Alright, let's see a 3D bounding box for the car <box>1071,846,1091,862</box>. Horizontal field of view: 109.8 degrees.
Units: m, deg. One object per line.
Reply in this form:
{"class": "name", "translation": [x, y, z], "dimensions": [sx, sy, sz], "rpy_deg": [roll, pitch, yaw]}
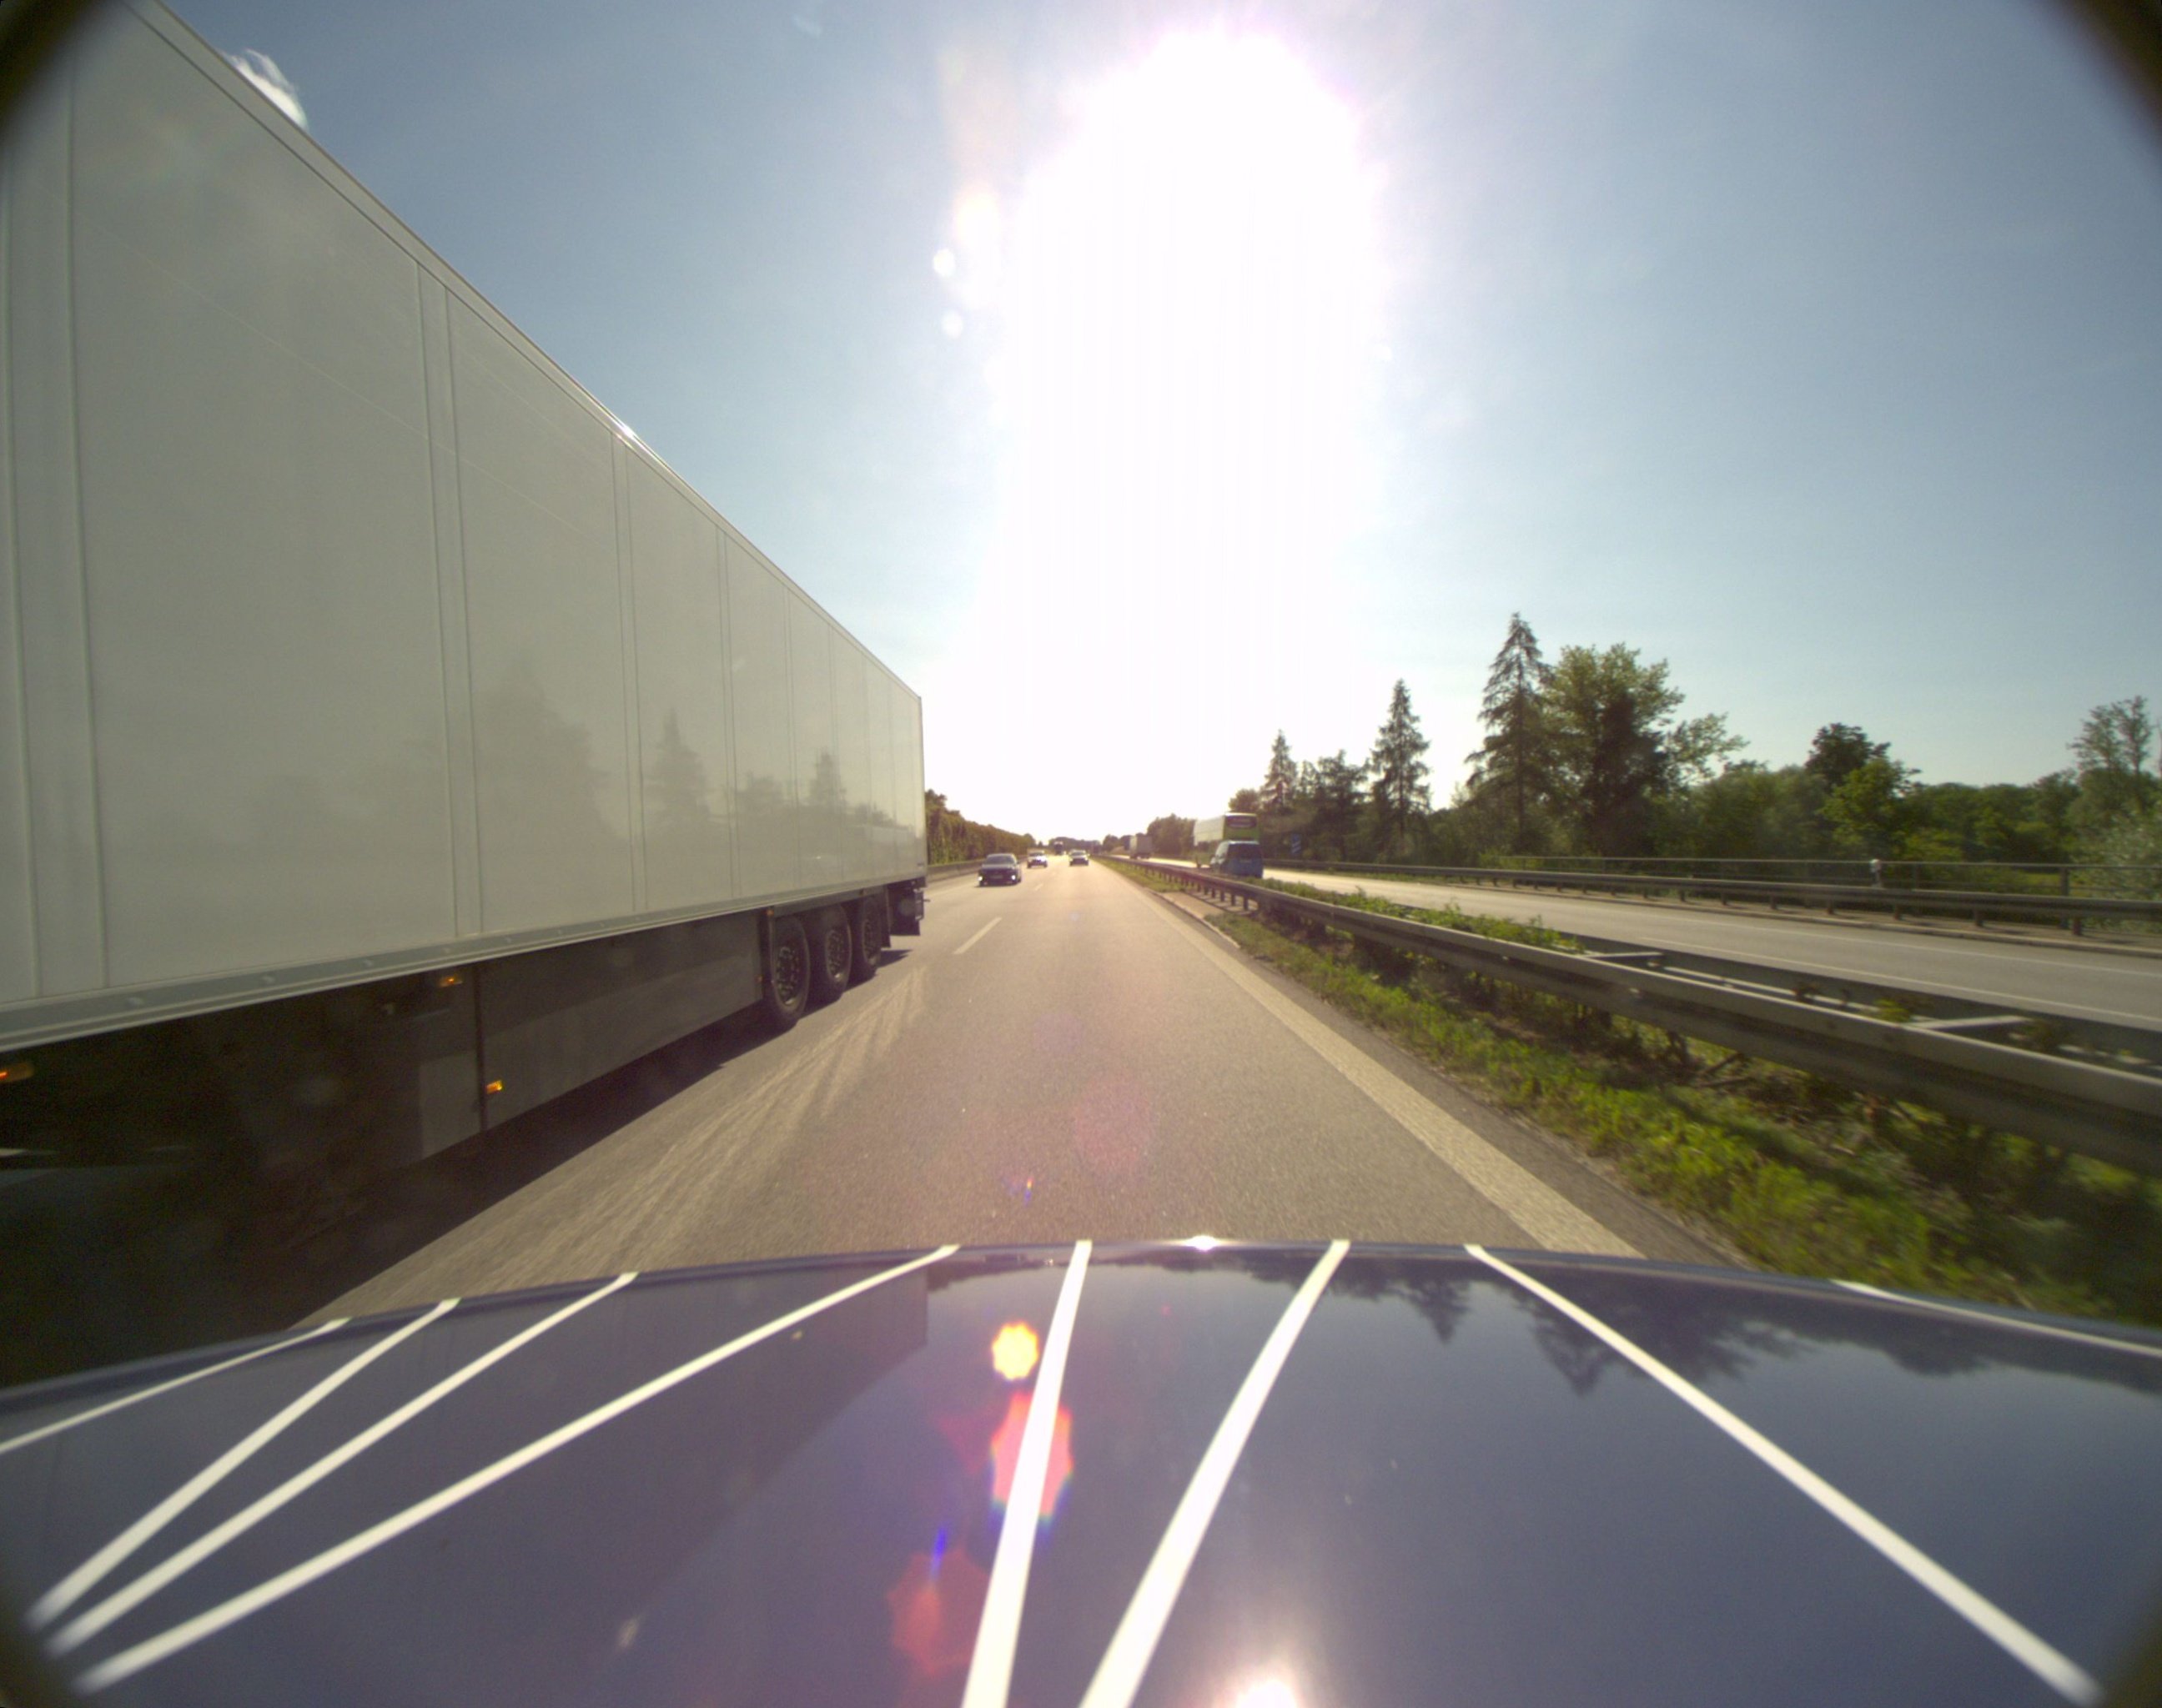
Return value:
{"class": "car", "translation": [0.004, -0.004, 73.262], "dimensions": [1.871, 1.514, 4.283], "rpy_deg": [1, 1, -1]}

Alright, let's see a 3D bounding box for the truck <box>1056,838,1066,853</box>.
{"class": "truck", "translation": [-5.878, -2.573, 224.901], "dimensions": [2.537, 4.228, 11.264], "rpy_deg": [0, 1, 0]}

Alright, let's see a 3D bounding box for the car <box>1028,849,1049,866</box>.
{"class": "car", "translation": [-3.957, 0.318, 71.377], "dimensions": [1.689, 1.487, 4.986], "rpy_deg": [1, 0, -1]}

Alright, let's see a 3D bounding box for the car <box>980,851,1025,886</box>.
{"class": "car", "translation": [-3.658, 0.637, 36.209], "dimensions": [1.669, 1.446, 4.543], "rpy_deg": [-2, 1, -1]}

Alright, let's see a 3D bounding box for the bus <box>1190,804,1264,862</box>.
{"class": "bus", "translation": [11.182, -1.541, 59.933], "dimensions": [2.944, 4.031, 14.665], "rpy_deg": [0, 1, 0]}

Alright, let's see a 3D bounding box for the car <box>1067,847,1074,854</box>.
{"class": "car", "translation": [-2.686, -0.916, 189.522], "dimensions": [1.741, 1.514, 3.999], "rpy_deg": [-1, 1, -1]}

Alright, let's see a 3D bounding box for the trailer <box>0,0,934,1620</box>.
{"class": "trailer", "translation": [-3.814, -0.311, 5.253], "dimensions": [2.825, 3.943, 14.157], "rpy_deg": [0, 1, 0]}

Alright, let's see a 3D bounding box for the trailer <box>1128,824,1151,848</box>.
{"class": "trailer", "translation": [10.267, -3.147, 134.669], "dimensions": [2.668, 3.985, 14.084], "rpy_deg": [0, 1, -1]}

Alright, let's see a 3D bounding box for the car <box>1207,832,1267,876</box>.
{"class": "car", "translation": [7.113, -0.025, 35.179], "dimensions": [1.759, 1.839, 5.010], "rpy_deg": [1, 1, 1]}
